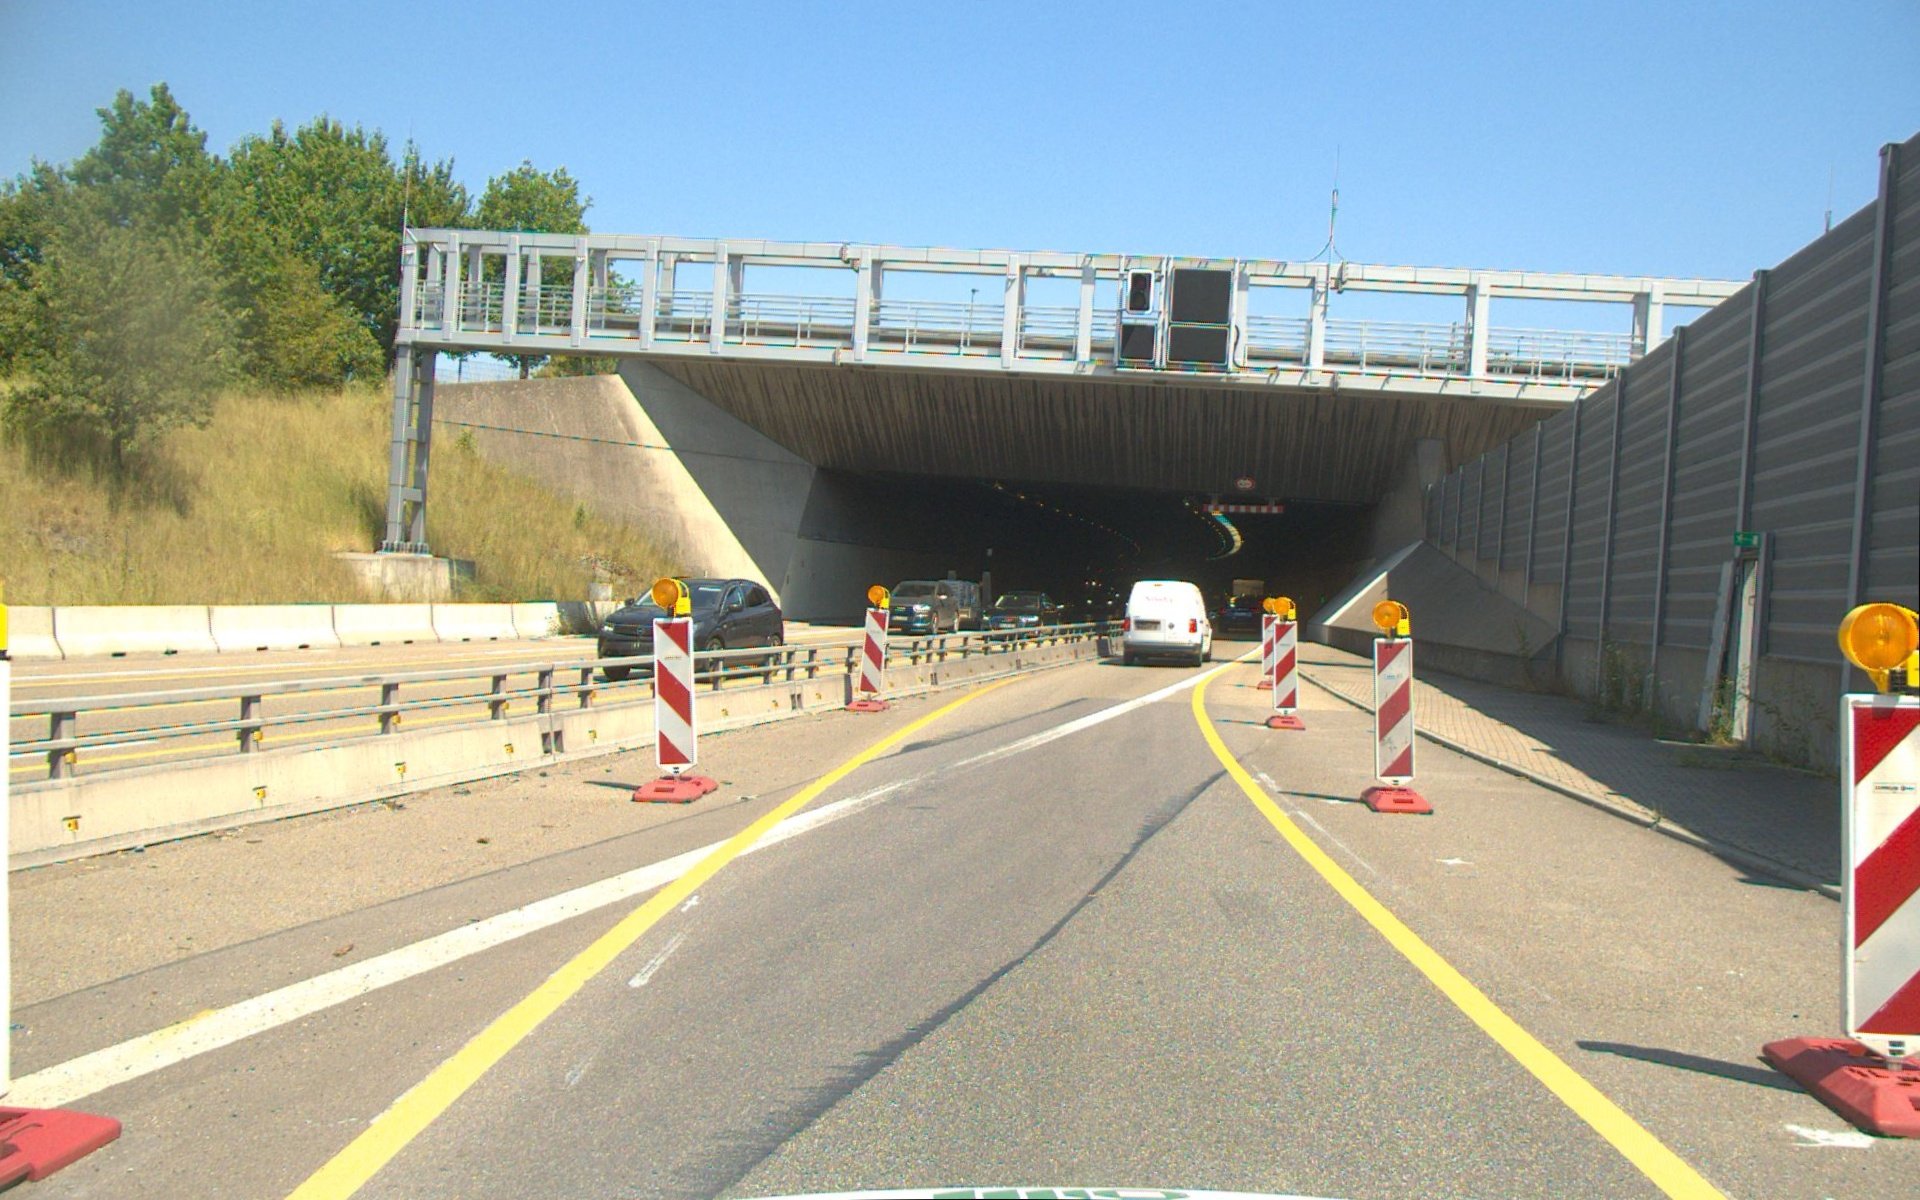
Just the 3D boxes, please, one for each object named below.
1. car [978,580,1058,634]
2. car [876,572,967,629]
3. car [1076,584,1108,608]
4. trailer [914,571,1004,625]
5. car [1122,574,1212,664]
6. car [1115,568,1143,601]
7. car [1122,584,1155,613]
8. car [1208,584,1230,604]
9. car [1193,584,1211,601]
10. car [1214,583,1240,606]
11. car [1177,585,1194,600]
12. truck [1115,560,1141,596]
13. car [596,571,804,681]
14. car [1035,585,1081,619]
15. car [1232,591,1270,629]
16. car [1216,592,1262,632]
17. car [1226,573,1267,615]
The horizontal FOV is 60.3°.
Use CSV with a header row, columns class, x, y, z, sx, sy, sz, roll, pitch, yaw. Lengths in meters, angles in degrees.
class,x,y,z,sx,sy,sz,roll,pitch,yaw
car,1.889,0.181,52.394,1.735,1.621,4.990,1,1,11
car,-1.206,-0.017,54.680,1.736,1.757,4.871,1,1,14
car,8.833,-0.259,110.512,1.736,1.542,4.568,1,1,10
trailer,0.034,-0.104,59.728,1.905,1.837,5.527,1,1,14
car,4.715,0.407,37.290,1.770,1.825,3.734,3,0,10
car,13.846,-1.272,135.057,1.951,2.559,6.047,1,1,9
car,10.567,-0.103,97.563,1.736,1.605,4.450,1,1,9
car,27.828,-0.685,177.895,1.899,2.056,4.664,1,1,4
car,31.180,-0.996,213.166,1.899,2.056,4.664,1,1,3
car,26.191,-0.530,162.209,1.993,2.056,4.634,5,1,5
car,32.473,-1.109,237.923,2.030,2.056,4.664,1,1,3
truck,18.971,-2.506,186.992,2.750,3.984,6.460,1,1,7
car,-4.124,0.386,26.946,1.706,1.621,4.230,1,0,16
car,5.046,0.067,84.923,1.735,1.695,4.811,1,1,11
car,15.154,0.522,86.373,1.770,1.846,4.413,3,0,8
car,11.767,0.488,69.614,1.770,1.564,4.413,3,0,10
car,21.916,-0.438,126.818,2.755,2.821,7.106,5,0,9
